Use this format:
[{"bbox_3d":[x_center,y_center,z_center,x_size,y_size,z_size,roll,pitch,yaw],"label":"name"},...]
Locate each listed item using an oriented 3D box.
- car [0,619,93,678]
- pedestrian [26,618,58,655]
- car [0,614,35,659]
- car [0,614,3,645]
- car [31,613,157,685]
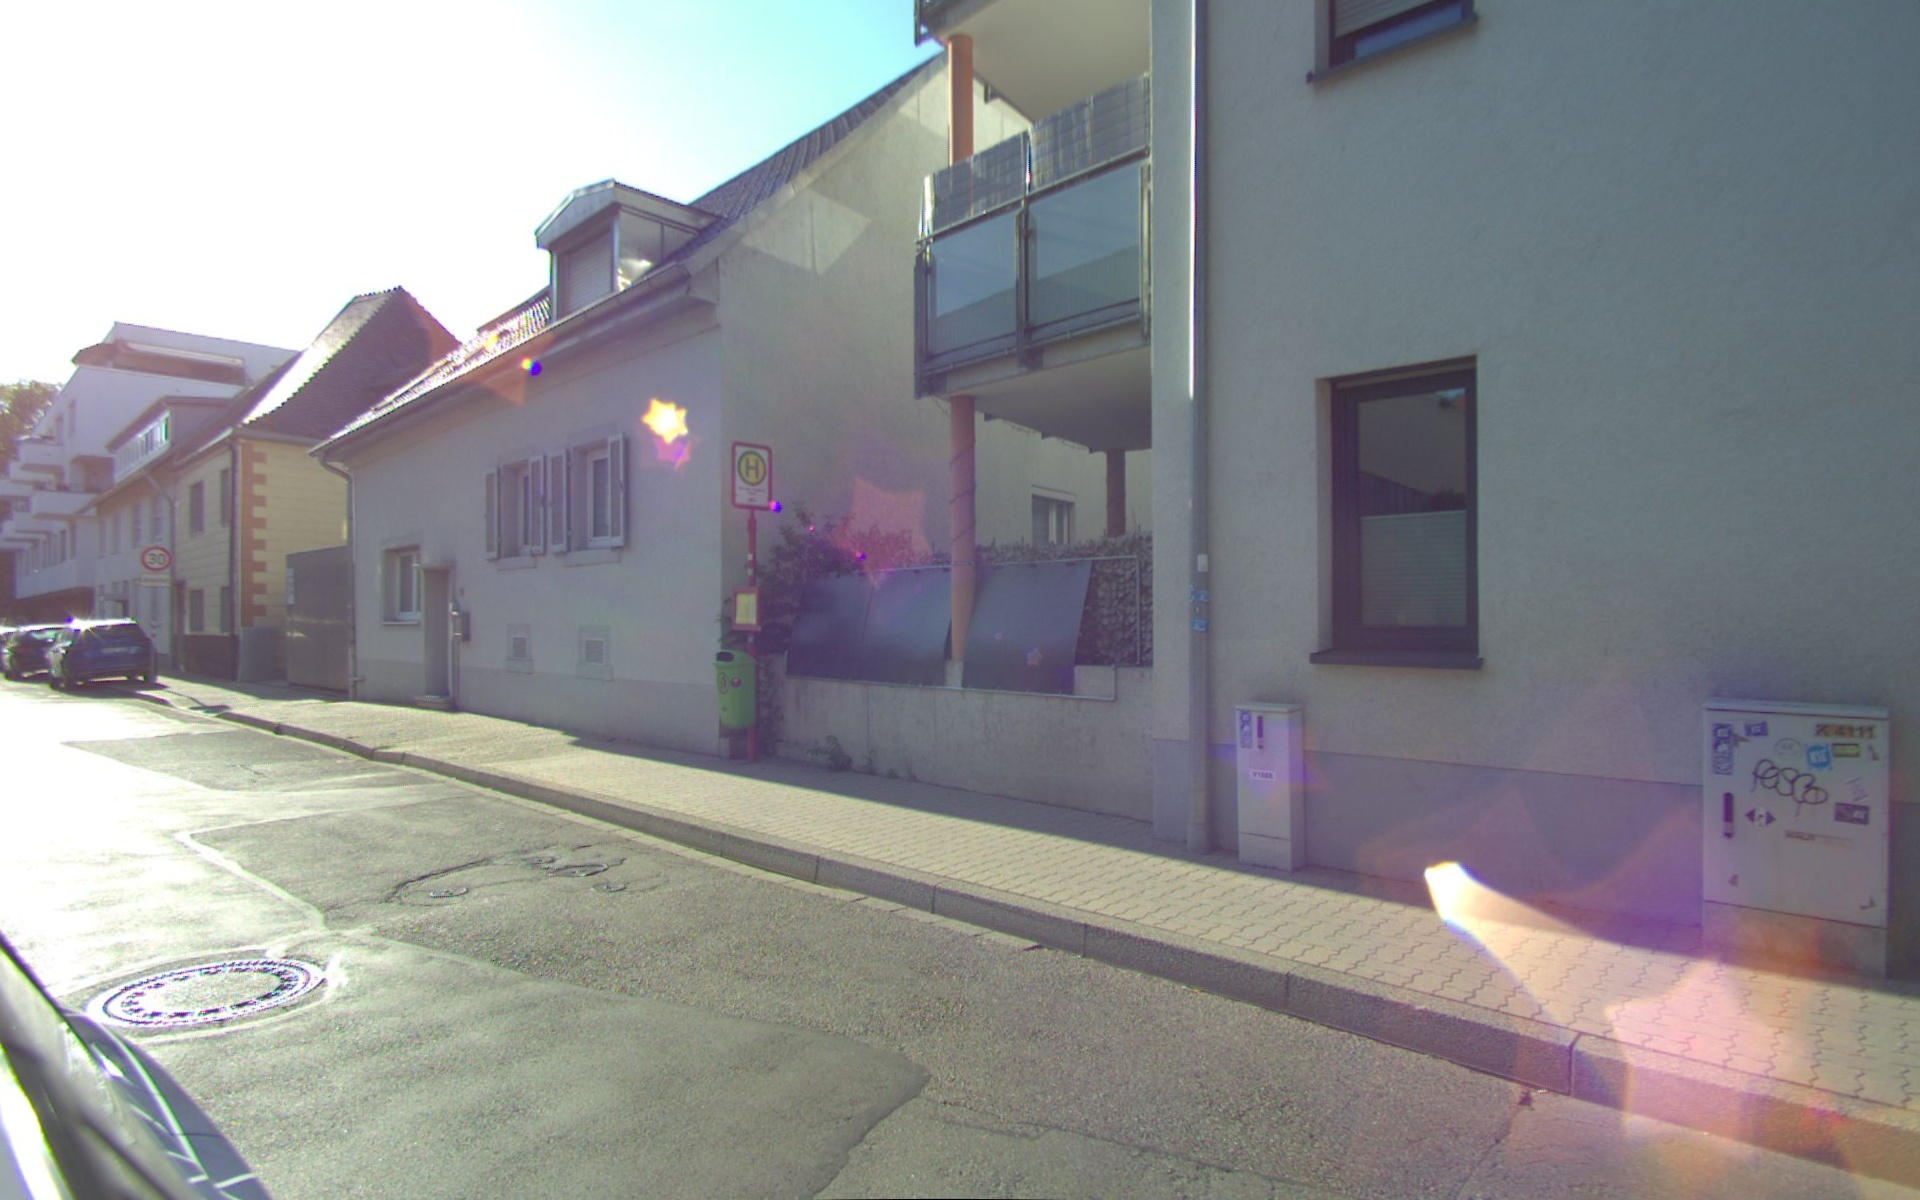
[{"bbox_3d":[-28.181,1.456,31.039,4.334,1.599,1.838,-2,0,42],"label":"car"},{"bbox_3d":[-48.029,1.905,52.945,0.849,1.832,1.136,-4,2,-25],"label":"pedestrian"},{"bbox_3d":[-35.787,1.338,37.377,4.328,1.547,1.669,0,1,38],"label":"car"},{"bbox_3d":[-52.205,1.582,53.391,4.615,1.599,1.840,0,1,38],"label":"car"},{"bbox_3d":[-21.664,1.209,25.268,4.191,1.599,1.790,-3,0,41],"label":"car"}]
